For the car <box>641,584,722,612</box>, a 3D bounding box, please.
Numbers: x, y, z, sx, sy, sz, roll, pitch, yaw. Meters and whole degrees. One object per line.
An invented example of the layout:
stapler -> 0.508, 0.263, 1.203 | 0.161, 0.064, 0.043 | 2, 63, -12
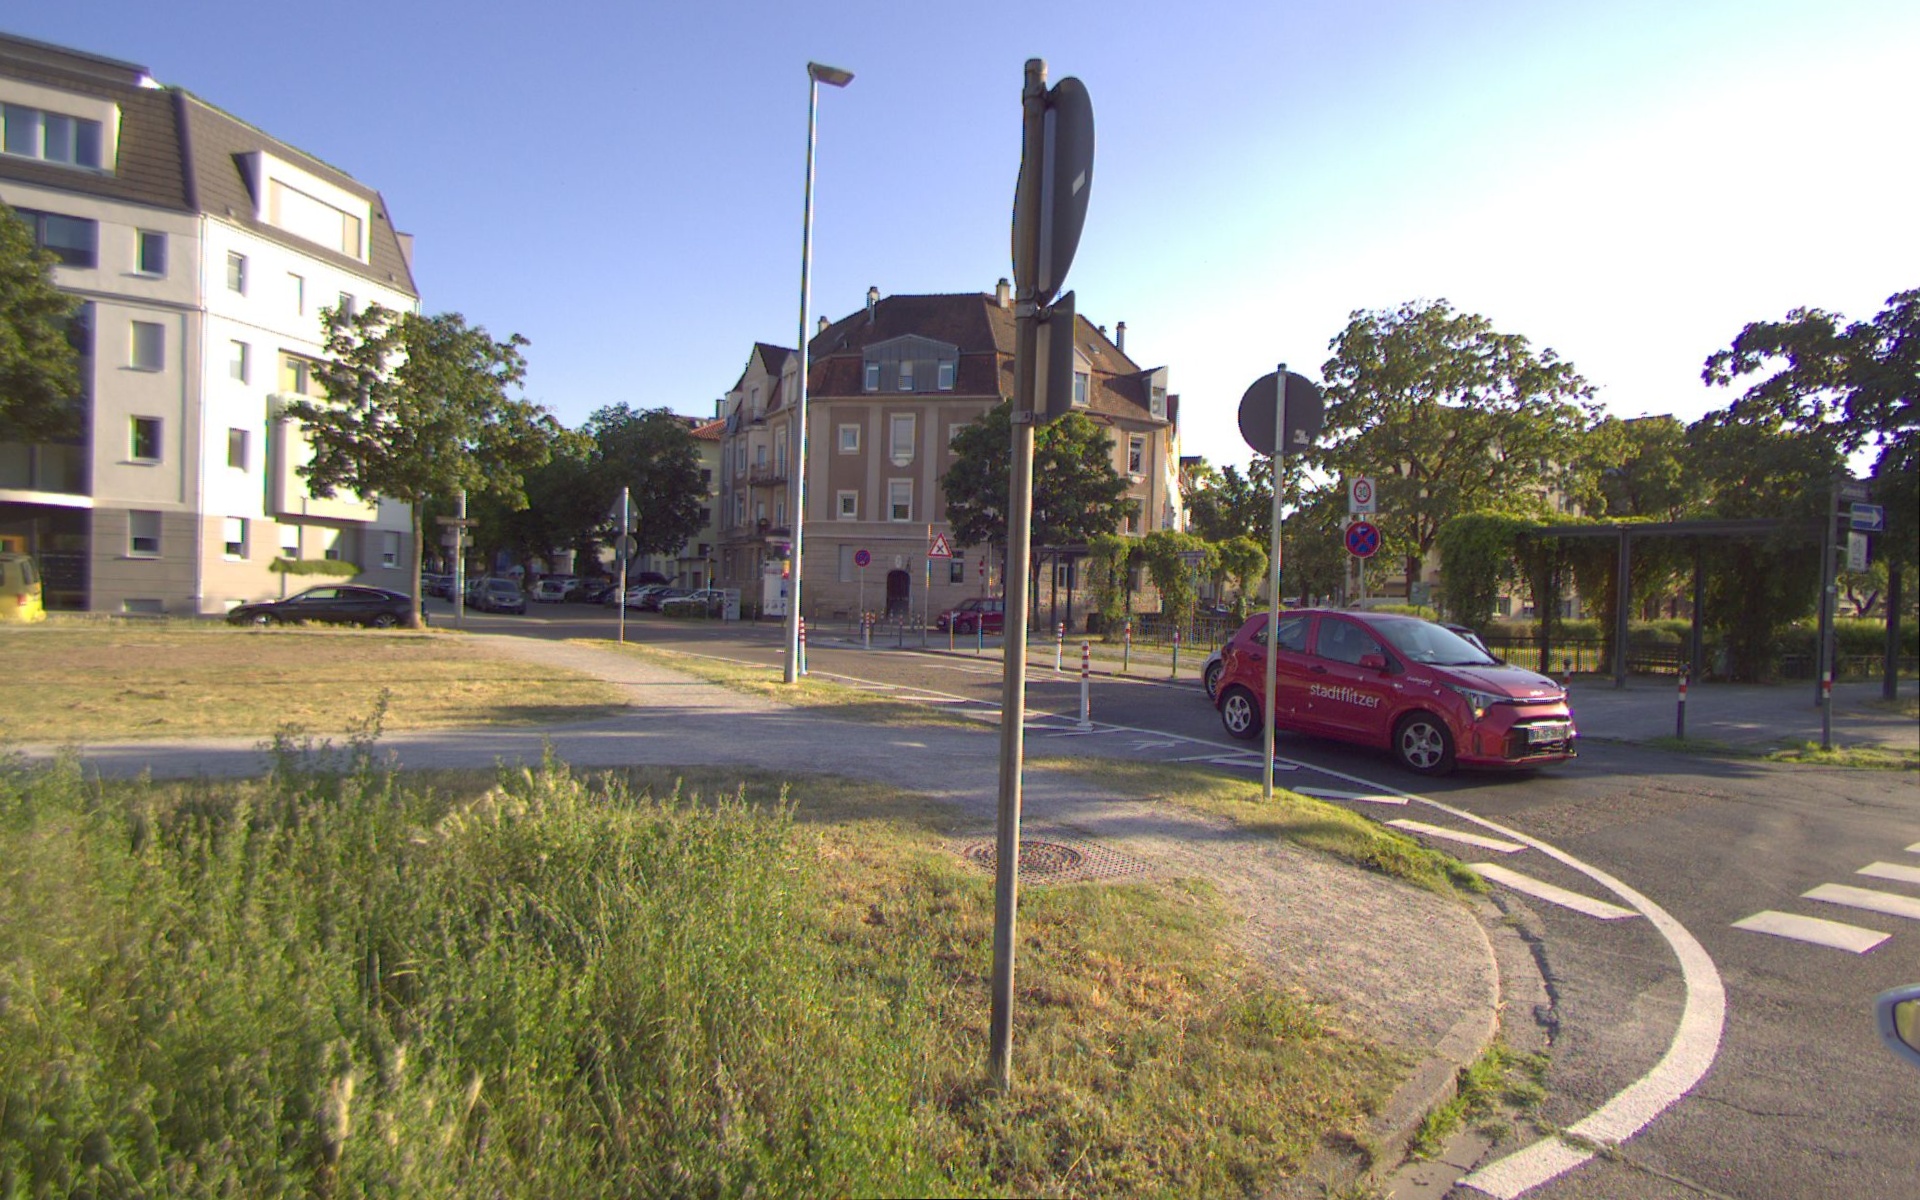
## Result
car -> -15.612, -0.105, 56.356 | 4.111, 1.467, 1.658 | 1, 1, -33

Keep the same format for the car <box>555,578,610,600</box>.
car -> -29.340, -0.876, 78.154 | 3.702, 1.579, 1.709 | 1, 1, -33

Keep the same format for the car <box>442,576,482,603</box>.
car -> -29.271, -0.600, 58.951 | 1.744, 1.467, 4.107 | 2, 0, -31

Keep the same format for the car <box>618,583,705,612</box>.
car -> -17.372, -0.134, 58.556 | 4.450, 1.546, 1.933 | 0, 2, -38

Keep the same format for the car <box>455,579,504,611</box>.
car -> -26.506, -0.272, 55.364 | 1.871, 1.612, 4.051 | 2, 0, -34

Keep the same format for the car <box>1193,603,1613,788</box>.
car -> 4.377, 0.840, 10.513 | 1.748, 1.546, 3.746 | 2, -1, -27

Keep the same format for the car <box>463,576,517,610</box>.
car -> -24.163, -0.367, 51.572 | 1.871, 1.612, 4.051 | 2, 0, -34

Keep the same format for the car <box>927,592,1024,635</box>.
car -> 0.724, 0.635, 46.340 | 4.040, 1.764, 1.797 | 2, 2, -30

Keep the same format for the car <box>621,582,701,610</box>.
car -> -19.003, -0.272, 63.909 | 4.492, 1.663, 1.857 | 1, 1, -33

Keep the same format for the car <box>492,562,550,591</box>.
car -> -49.016, -2.637, 112.162 | 5.503, 3.008, 2.448 | 2, 1, -34

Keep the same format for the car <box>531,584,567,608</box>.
car -> -27.841, -0.287, 67.965 | 1.801, 1.492, 4.184 | 2, 0, -29

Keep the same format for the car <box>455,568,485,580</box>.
car -> -72.085, -3.839, 147.892 | 3.813, 1.502, 1.790 | 2, 1, -31

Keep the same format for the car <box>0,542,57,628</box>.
car -> -24.766, -0.426, 23.811 | 4.644, 2.040, 2.015 | 2, 0, -33

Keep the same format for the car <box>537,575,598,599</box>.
car -> -33.436, -1.105, 85.621 | 4.590, 1.861, 1.936 | 3, 0, -32

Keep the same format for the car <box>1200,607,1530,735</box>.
car -> 5.638, 0.908, 14.519 | 1.802, 1.492, 4.180 | 2, 0, -31

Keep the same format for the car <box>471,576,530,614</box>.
car -> -21.484, -0.267, 46.870 | 1.871, 1.612, 4.051 | 2, 0, -34

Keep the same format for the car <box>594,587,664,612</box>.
car -> -22.306, -0.013, 67.702 | 4.159, 1.579, 1.857 | 1, 1, -33

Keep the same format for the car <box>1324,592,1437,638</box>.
car -> 27.777, 0.964, 66.460 | 6.569, 2.781, 2.313 | 2, 0, 30

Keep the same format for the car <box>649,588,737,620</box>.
car -> -13.817, 0.202, 51.974 | 4.018, 1.525, 1.845 | 1, 1, -33

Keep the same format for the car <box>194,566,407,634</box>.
car -> -18.243, 0.019, 28.062 | 4.784, 1.691, 1.773 | 2, 0, -31

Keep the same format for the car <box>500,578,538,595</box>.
car -> -47.715, -1.504, 108.726 | 3.569, 1.682, 1.634 | 2, 1, -34

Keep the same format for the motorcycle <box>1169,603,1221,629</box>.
motorcycle -> 14.456, 0.966, 61.916 | 0.847, 1.507, 3.190 | 3, -1, -43
